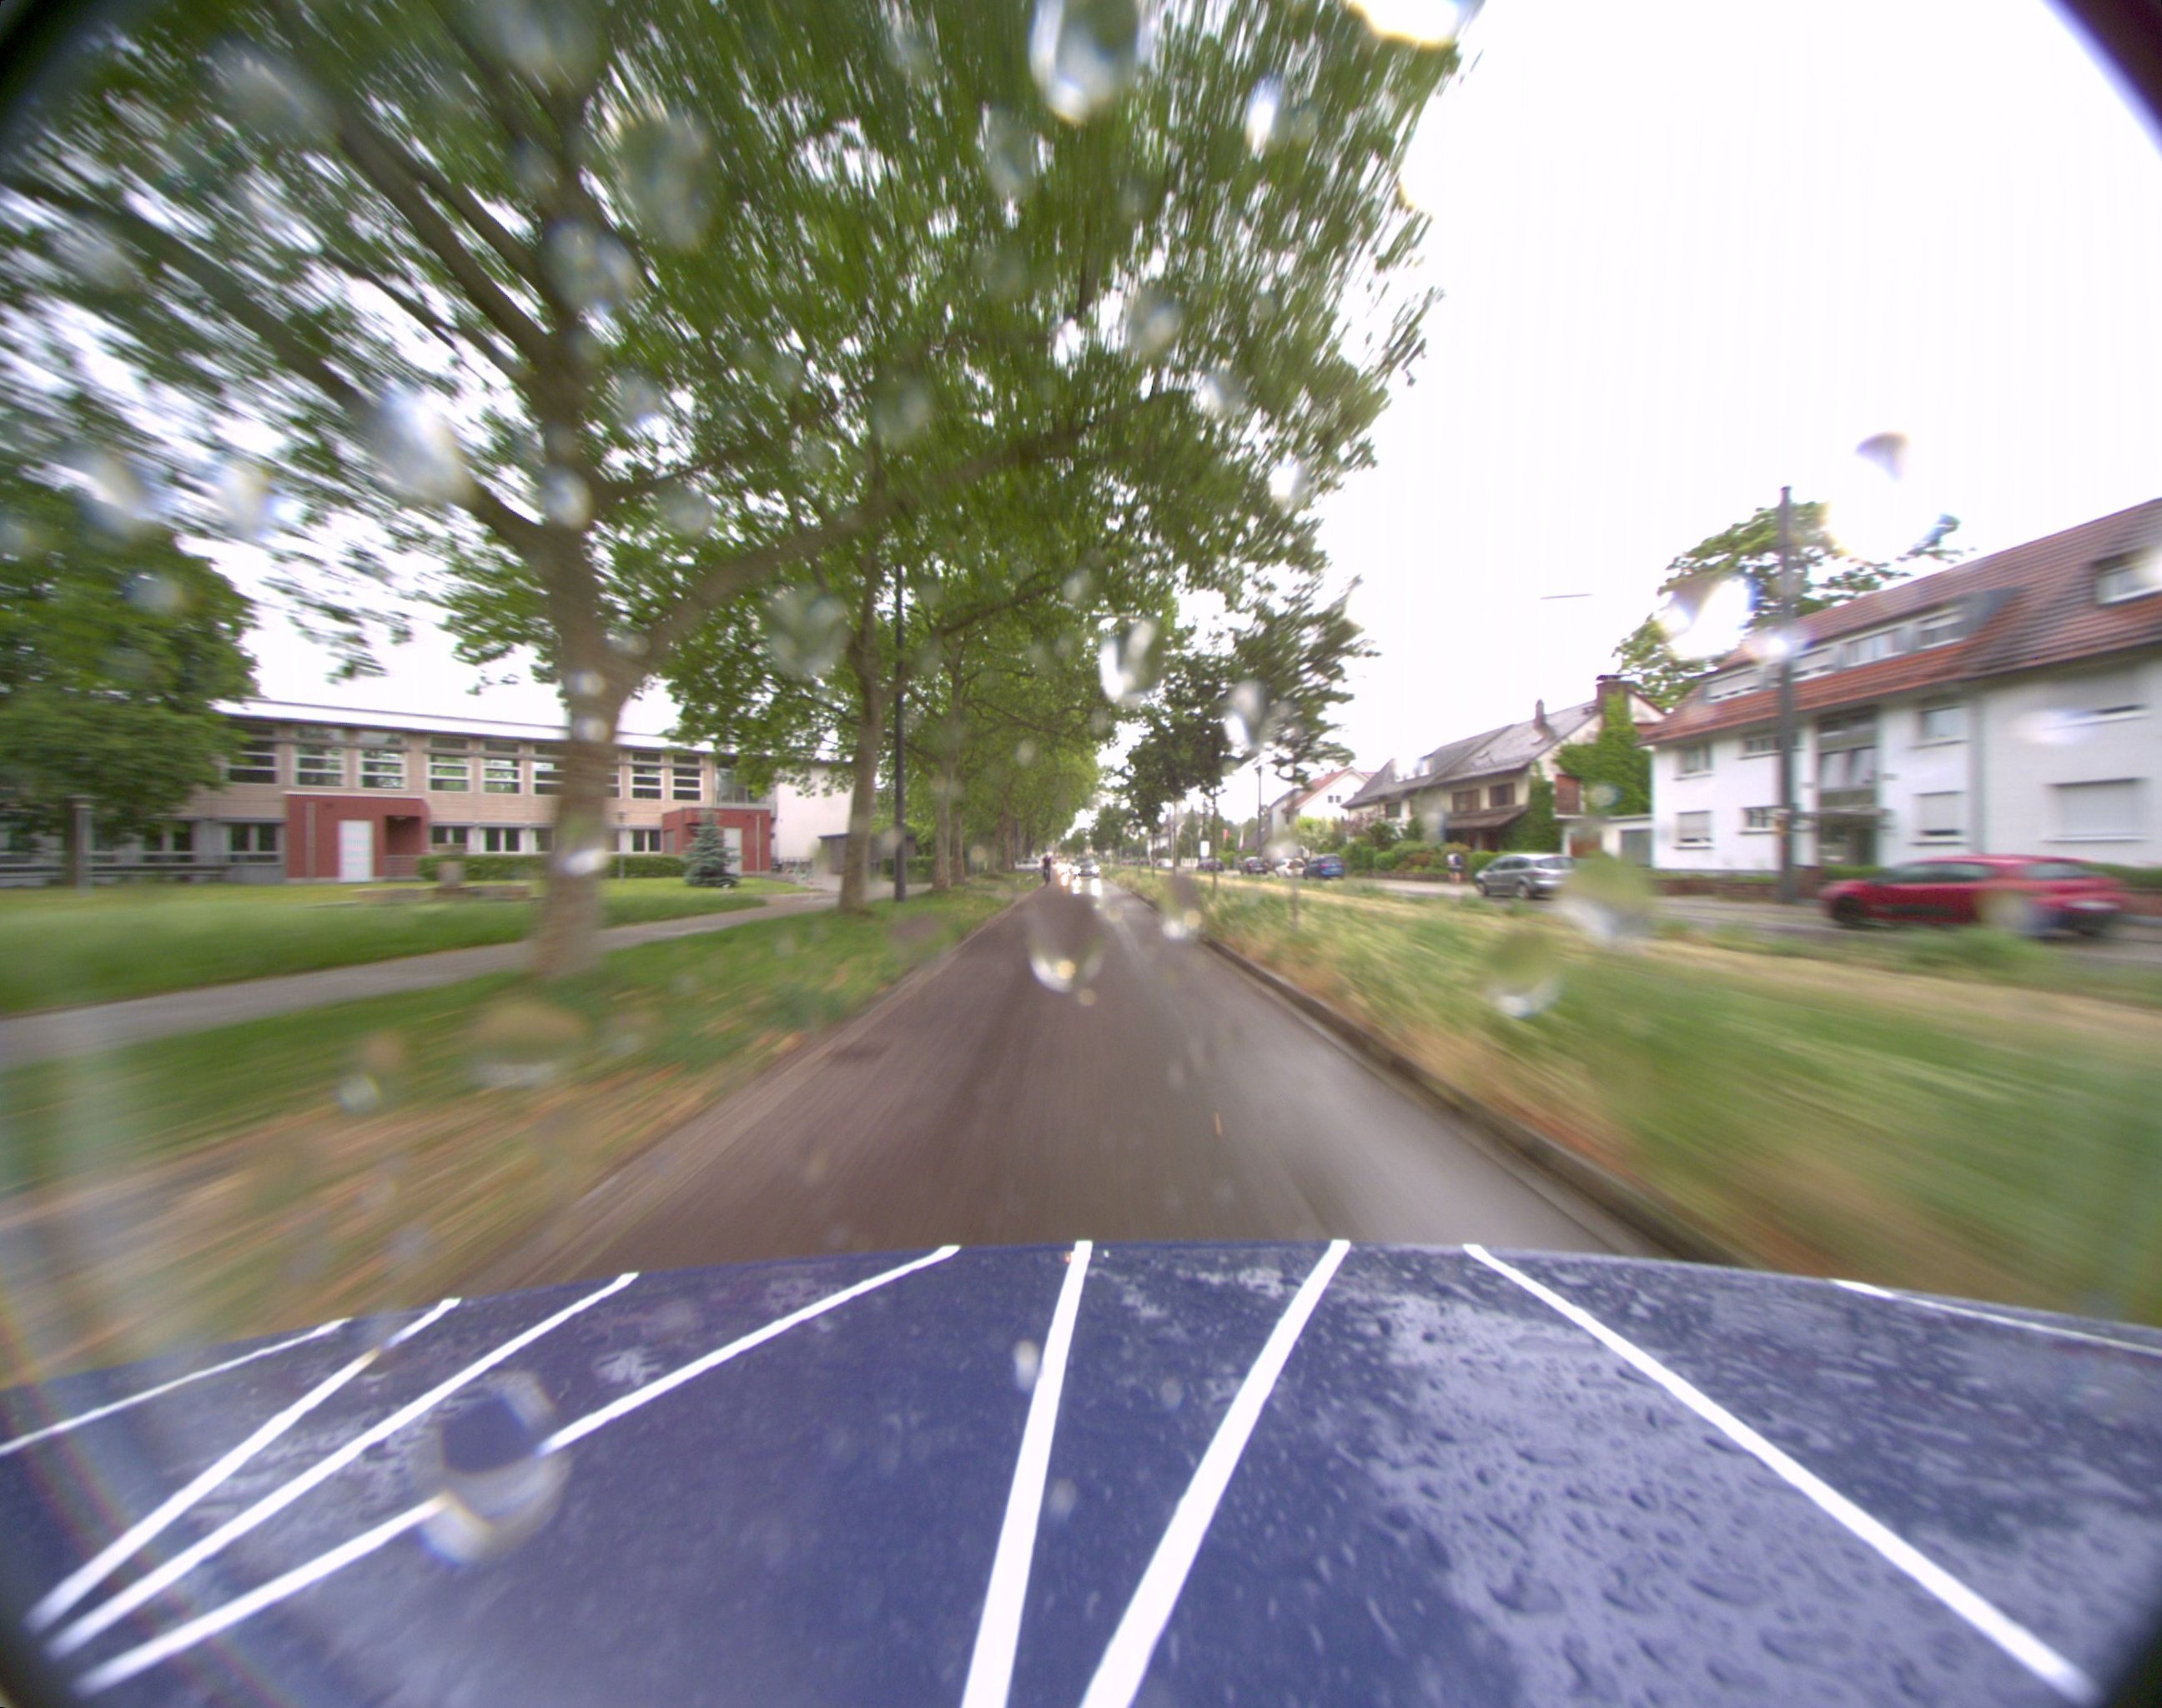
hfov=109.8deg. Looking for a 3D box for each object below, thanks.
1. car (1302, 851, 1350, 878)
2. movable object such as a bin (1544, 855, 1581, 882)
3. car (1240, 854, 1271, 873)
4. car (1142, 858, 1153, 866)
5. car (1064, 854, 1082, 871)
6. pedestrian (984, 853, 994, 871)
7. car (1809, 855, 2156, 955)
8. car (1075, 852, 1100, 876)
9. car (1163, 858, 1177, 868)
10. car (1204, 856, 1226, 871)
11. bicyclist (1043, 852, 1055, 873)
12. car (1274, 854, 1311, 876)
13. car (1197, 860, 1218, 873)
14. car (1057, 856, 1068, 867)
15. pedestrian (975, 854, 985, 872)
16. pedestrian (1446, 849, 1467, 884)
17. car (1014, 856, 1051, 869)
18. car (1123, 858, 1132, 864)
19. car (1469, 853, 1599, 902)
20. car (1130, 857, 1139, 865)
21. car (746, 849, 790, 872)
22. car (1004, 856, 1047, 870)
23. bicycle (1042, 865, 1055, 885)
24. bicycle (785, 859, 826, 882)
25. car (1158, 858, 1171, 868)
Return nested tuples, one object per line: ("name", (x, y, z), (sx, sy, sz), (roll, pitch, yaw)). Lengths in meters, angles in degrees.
("car", (16.602, 0.701, 51.685), (1.849, 1.696, 4.182), (-2, 0, -1))
("movable object such as a bin", (23.150, 0.695, 36.546), (1.257, 1.290, 0.739), (-2, 0, 1))
("car", (16.073, 0.855, 70.163), (1.759, 1.604, 4.110), (-3, 0, 0))
("car", (13.012, 1.510, 148.590), (1.759, 1.507, 3.854), (-3, 0, 0))
("car", (-0.849, 0.864, 79.553), (1.767, 1.715, 3.934), (-1, 0, -1))
("pedestrian", (-8.072, 0.699, 66.540), (0.748, 1.529, 0.585), (0, 0, -1))
("car", (16.604, 0.839, 14.381), (1.846, 1.538, 3.973), (-3, 0, 1))
("car", (0.502, 0.769, 57.896), (1.767, 1.714, 3.935), (-2, -1, 0))
("car", (14.200, 1.476, 121.433), (1.759, 1.507, 3.854), (-3, 0, 0))
("car", (15.491, 1.078, 87.773), (1.759, 1.507, 3.854), (-3, 0, 0))
("bicyclist", (-1.717, 0.448, 40.532), (0.622, 1.078, 0.624), (0, 1, -2))
("car", (16.317, 0.828, 58.685), (1.718, 1.520, 3.601), (-3, 0, -1))
("car", (15.261, 1.469, 92.100), (1.893, 1.490, 4.000), (0, 0, 1))
("car", (-2.976, 1.219, 122.202), (1.767, 1.715, 3.933), (0, 1, -2))
("pedestrian", (-8.823, 0.789, 66.455), (0.748, 1.529, 0.585), (0, 0, -1))
("pedestrian", (18.890, 0.628, 38.209), (0.599, 1.757, 0.869), (-1, 0, 0))
("car", (-5.611, 1.008, 88.390), (4.020, 1.478, 1.636), (0, 0, -20))
("car", (11.080, 1.679, 181.415), (1.759, 1.507, 3.854), (-3, 0, 0))
("car", (16.433, 0.805, 27.889), (1.998, 1.604, 4.684), (-2, 0, 1))
("car", (11.881, 1.567, 169.636), (1.759, 1.507, 3.854), (-3, 0, 0))
("car", (-20.815, 0.424, 50.505), (1.753, 1.443, 3.572), (-2, 1, -38))
("car", (-5.592, 0.911, 76.865), (4.020, 1.478, 1.636), (0, 0, -20))
("bicycle", (-1.721, 1.111, 40.654), (0.659, 1.008, 2.256), (0, 1, -2))
("bicycle", (-14.388, 0.859, 39.735), (0.519, 1.115, 1.942), (3, 1, 43))
("car", (13.822, 1.537, 125.977), (1.759, 1.507, 3.854), (-3, 0, 0))
